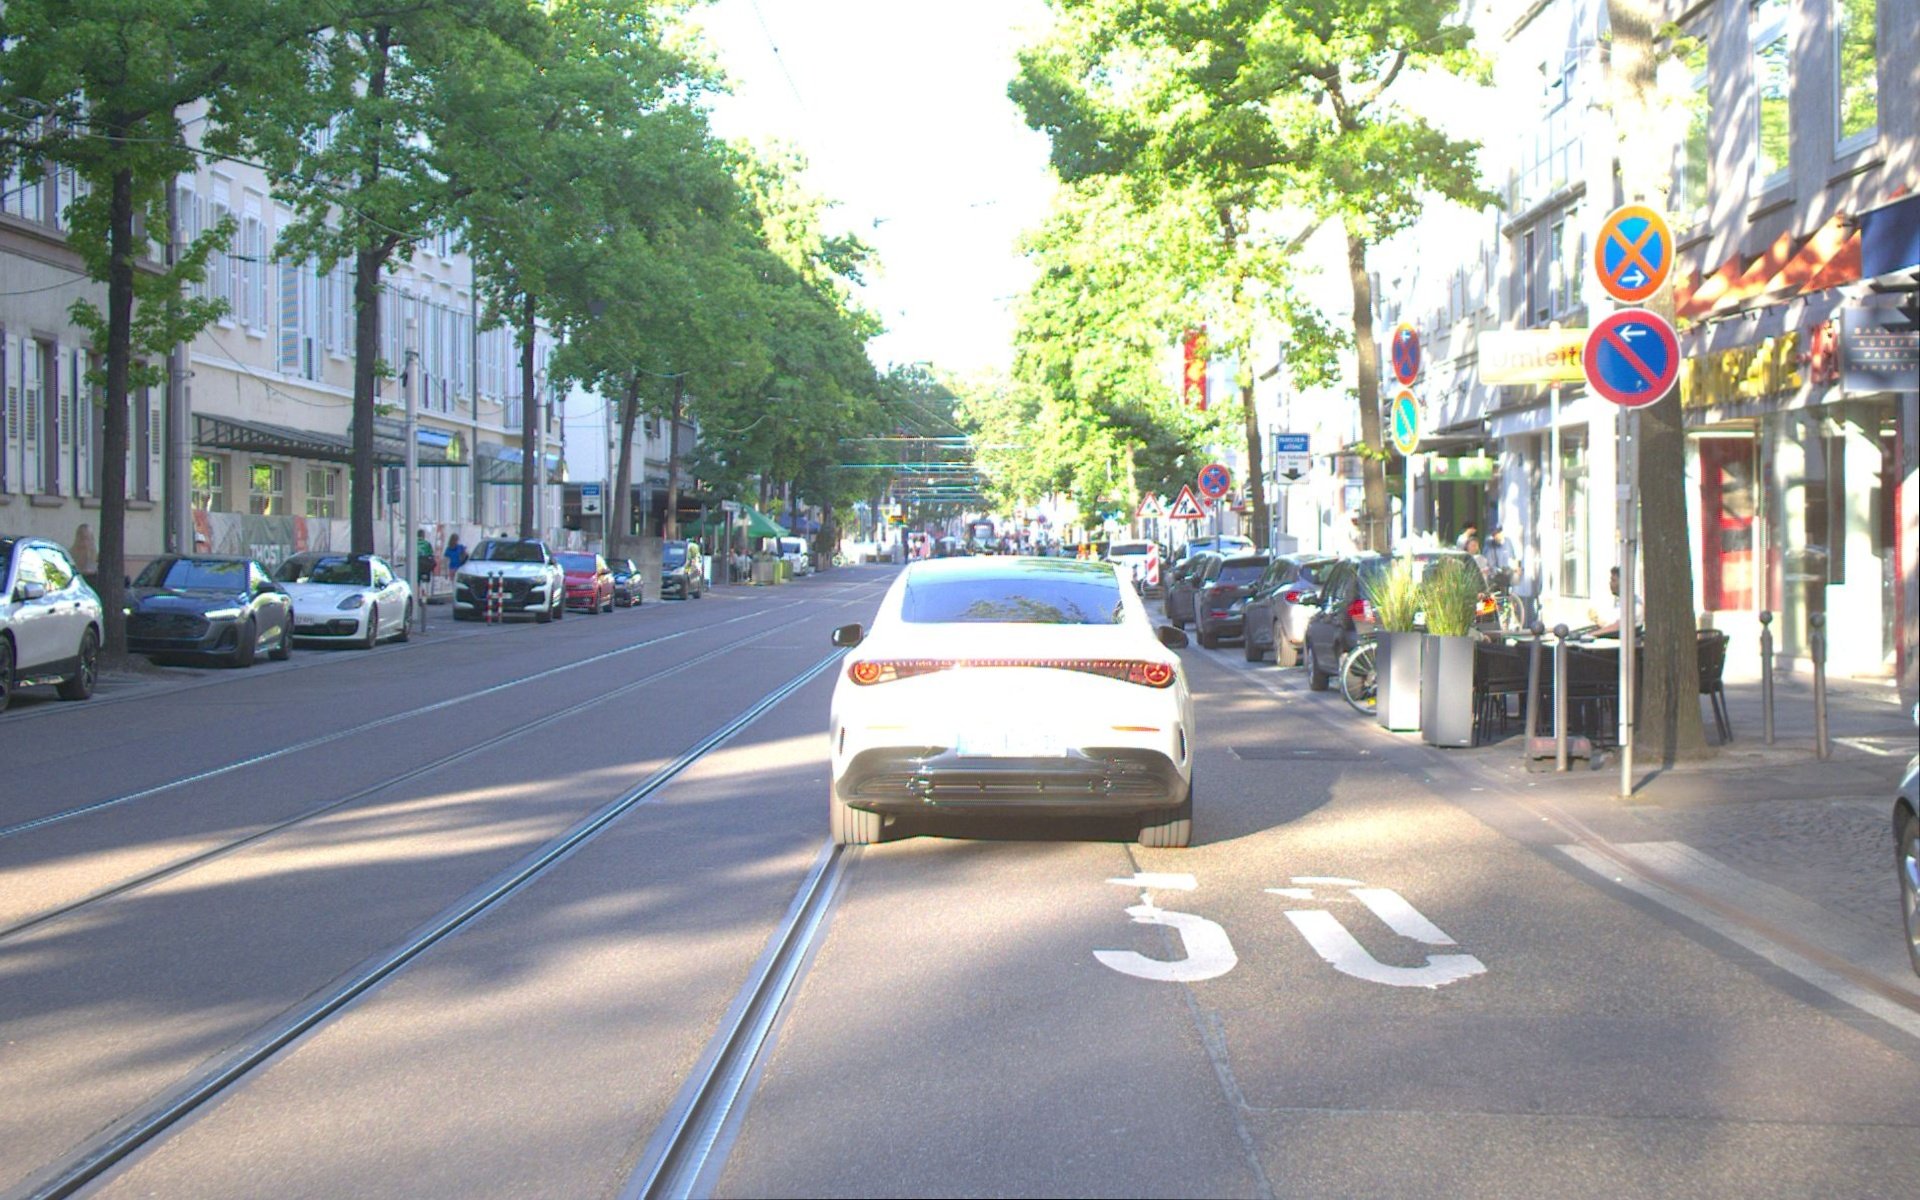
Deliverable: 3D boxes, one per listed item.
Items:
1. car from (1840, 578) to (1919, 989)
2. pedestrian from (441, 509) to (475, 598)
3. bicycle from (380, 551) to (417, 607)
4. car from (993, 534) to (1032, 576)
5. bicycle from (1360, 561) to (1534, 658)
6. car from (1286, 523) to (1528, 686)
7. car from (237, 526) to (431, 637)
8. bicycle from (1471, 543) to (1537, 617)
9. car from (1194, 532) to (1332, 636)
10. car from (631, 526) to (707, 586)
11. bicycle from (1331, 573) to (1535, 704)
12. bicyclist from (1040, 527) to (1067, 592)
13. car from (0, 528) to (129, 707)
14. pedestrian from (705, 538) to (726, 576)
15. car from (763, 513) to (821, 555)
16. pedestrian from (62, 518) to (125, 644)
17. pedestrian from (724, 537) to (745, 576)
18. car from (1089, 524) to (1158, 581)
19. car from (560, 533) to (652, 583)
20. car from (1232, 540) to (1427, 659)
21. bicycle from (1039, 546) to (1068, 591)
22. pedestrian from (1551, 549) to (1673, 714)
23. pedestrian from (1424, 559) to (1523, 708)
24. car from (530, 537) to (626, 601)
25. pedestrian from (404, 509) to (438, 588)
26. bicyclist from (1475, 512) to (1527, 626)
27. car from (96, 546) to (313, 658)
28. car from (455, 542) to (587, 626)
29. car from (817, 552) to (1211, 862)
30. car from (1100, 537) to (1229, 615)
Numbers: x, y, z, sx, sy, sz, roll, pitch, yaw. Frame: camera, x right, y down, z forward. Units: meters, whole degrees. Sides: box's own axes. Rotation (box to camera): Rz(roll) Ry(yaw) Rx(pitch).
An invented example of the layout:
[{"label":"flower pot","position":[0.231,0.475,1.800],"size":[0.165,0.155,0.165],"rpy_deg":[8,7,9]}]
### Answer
[{"label":"car","position":[4.207,0.622,10.773],"size":[1.776,1.435,4.422],"rpy_deg":[-3,0,1]},{"label":"pedestrian","position":[-11.431,-1.062,78.322],"size":[0.707,1.997,0.676],"rpy_deg":[0,1,-5]},{"label":"bicycle","position":[-10.761,-0.408,65.879],"size":[0.593,1.047,2.009],"rpy_deg":[-1,1,-6]},{"label":"car","position":[3.140,-2.697,207.033],"size":[1.993,2.532,4.001],"rpy_deg":[0,1,-4]},{"label":"bicycle","position":[5.662,0.106,40.012],"size":[1.855,1.070,0.712],"rpy_deg":[-1,1,-9]},{"label":"car","position":[4.543,0.021,35.428],"size":[1.800,1.453,3.655],"rpy_deg":[-5,1,-2]},{"label":"car","position":[-9.666,-0.308,53.430],"size":[1.947,1.634,4.909],"rpy_deg":[1,1,2]},{"label":"bicycle","position":[8.095,-0.306,51.244],"size":[0.647,1.070,1.861],"rpy_deg":[-1,1,-1]},{"label":"car","position":[4.580,-0.274,52.452],"size":[1.871,1.448,4.106],"rpy_deg":[-2,1,3]},{"label":"car","position":[-8.760,-1.341,103.595],"size":[1.553,1.789,3.166],"rpy_deg":[0,1,9]},{"label":"bicycle","position":[4.319,0.356,31.420],"size":[1.728,1.135,0.546],"rpy_deg":[-2,0,22]},{"label":"bicyclist","position":[2.480,-1.069,91.116],"size":[0.724,1.697,0.811],"rpy_deg":[0,1,2]},{"label":"car","position":[-9.897,0.109,34.155],"size":[1.962,1.634,4.812],"rpy_deg":[3,1,1]},{"label":"pedestrian","position":[-9.477,-1.655,133.158],"size":[0.569,1.459,0.649],"rpy_deg":[0,1,20]},{"label":"car","position":[-8.092,-3.190,166.046],"size":[1.994,2.007,3.999],"rpy_deg":[0,1,9]},{"label":"pedestrian","position":[-11.909,-0.268,47.278],"size":[0.686,1.715,0.656],"rpy_deg":[1,1,1]},{"label":"pedestrian","position":[-8.826,-1.693,134.625],"size":[0.517,1.473,0.650],"rpy_deg":[-3,0,-26]},{"label":"car","position":[5.061,-1.493,106.989],"size":[1.993,1.722,4.241],"rpy_deg":[-1,1,1]},{"label":"car","position":[-9.314,-1.122,90.677],"size":[1.993,1.287,4.000],"rpy_deg":[0,1,1]},{"label":"car","position":[4.744,-0.030,44.650],"size":[1.814,1.481,4.001],"rpy_deg":[0,1,-4]},{"label":"bicycle","position":[2.481,-0.843,91.105],"size":[0.740,1.184,2.160],"rpy_deg":[-1,1,2]},{"label":"pedestrian","position":[5.601,0.259,29.551],"size":[0.707,1.382,0.747],"rpy_deg":[-1,1,-37]},{"label":"pedestrian","position":[4.422,0.285,29.640],"size":[0.817,1.261,0.586],"rpy_deg":[0,1,6]},{"label":"car","position":[-9.057,-0.751,81.704],"size":[1.689,1.494,4.234],"rpy_deg":[0,1,2]},{"label":"pedestrian","position":[-12.269,-1.174,78.279],"size":[0.707,1.800,0.676],"rpy_deg":[0,1,-4]},{"label":"bicyclist","position":[8.078,-0.463,51.334],"size":[0.639,1.678,0.600],"rpy_deg":[-1,1,-1]},{"label":"car","position":[-9.913,-0.007,45.483],"size":[1.961,1.408,4.847],"rpy_deg":[0,1,-2]},{"label":"car","position":[-9.100,-0.350,71.678],"size":[1.962,1.686,5.013],"rpy_deg":[0,1,2]},{"label":"car","position":[0.188,0.477,18.337],"size":[1.868,1.464,4.043],"rpy_deg":[0,1,-2]},{"label":"car","position":[3.853,-0.480,65.357],"size":[1.837,1.431,4.001],"rpy_deg":[-1,1,-6]}]
